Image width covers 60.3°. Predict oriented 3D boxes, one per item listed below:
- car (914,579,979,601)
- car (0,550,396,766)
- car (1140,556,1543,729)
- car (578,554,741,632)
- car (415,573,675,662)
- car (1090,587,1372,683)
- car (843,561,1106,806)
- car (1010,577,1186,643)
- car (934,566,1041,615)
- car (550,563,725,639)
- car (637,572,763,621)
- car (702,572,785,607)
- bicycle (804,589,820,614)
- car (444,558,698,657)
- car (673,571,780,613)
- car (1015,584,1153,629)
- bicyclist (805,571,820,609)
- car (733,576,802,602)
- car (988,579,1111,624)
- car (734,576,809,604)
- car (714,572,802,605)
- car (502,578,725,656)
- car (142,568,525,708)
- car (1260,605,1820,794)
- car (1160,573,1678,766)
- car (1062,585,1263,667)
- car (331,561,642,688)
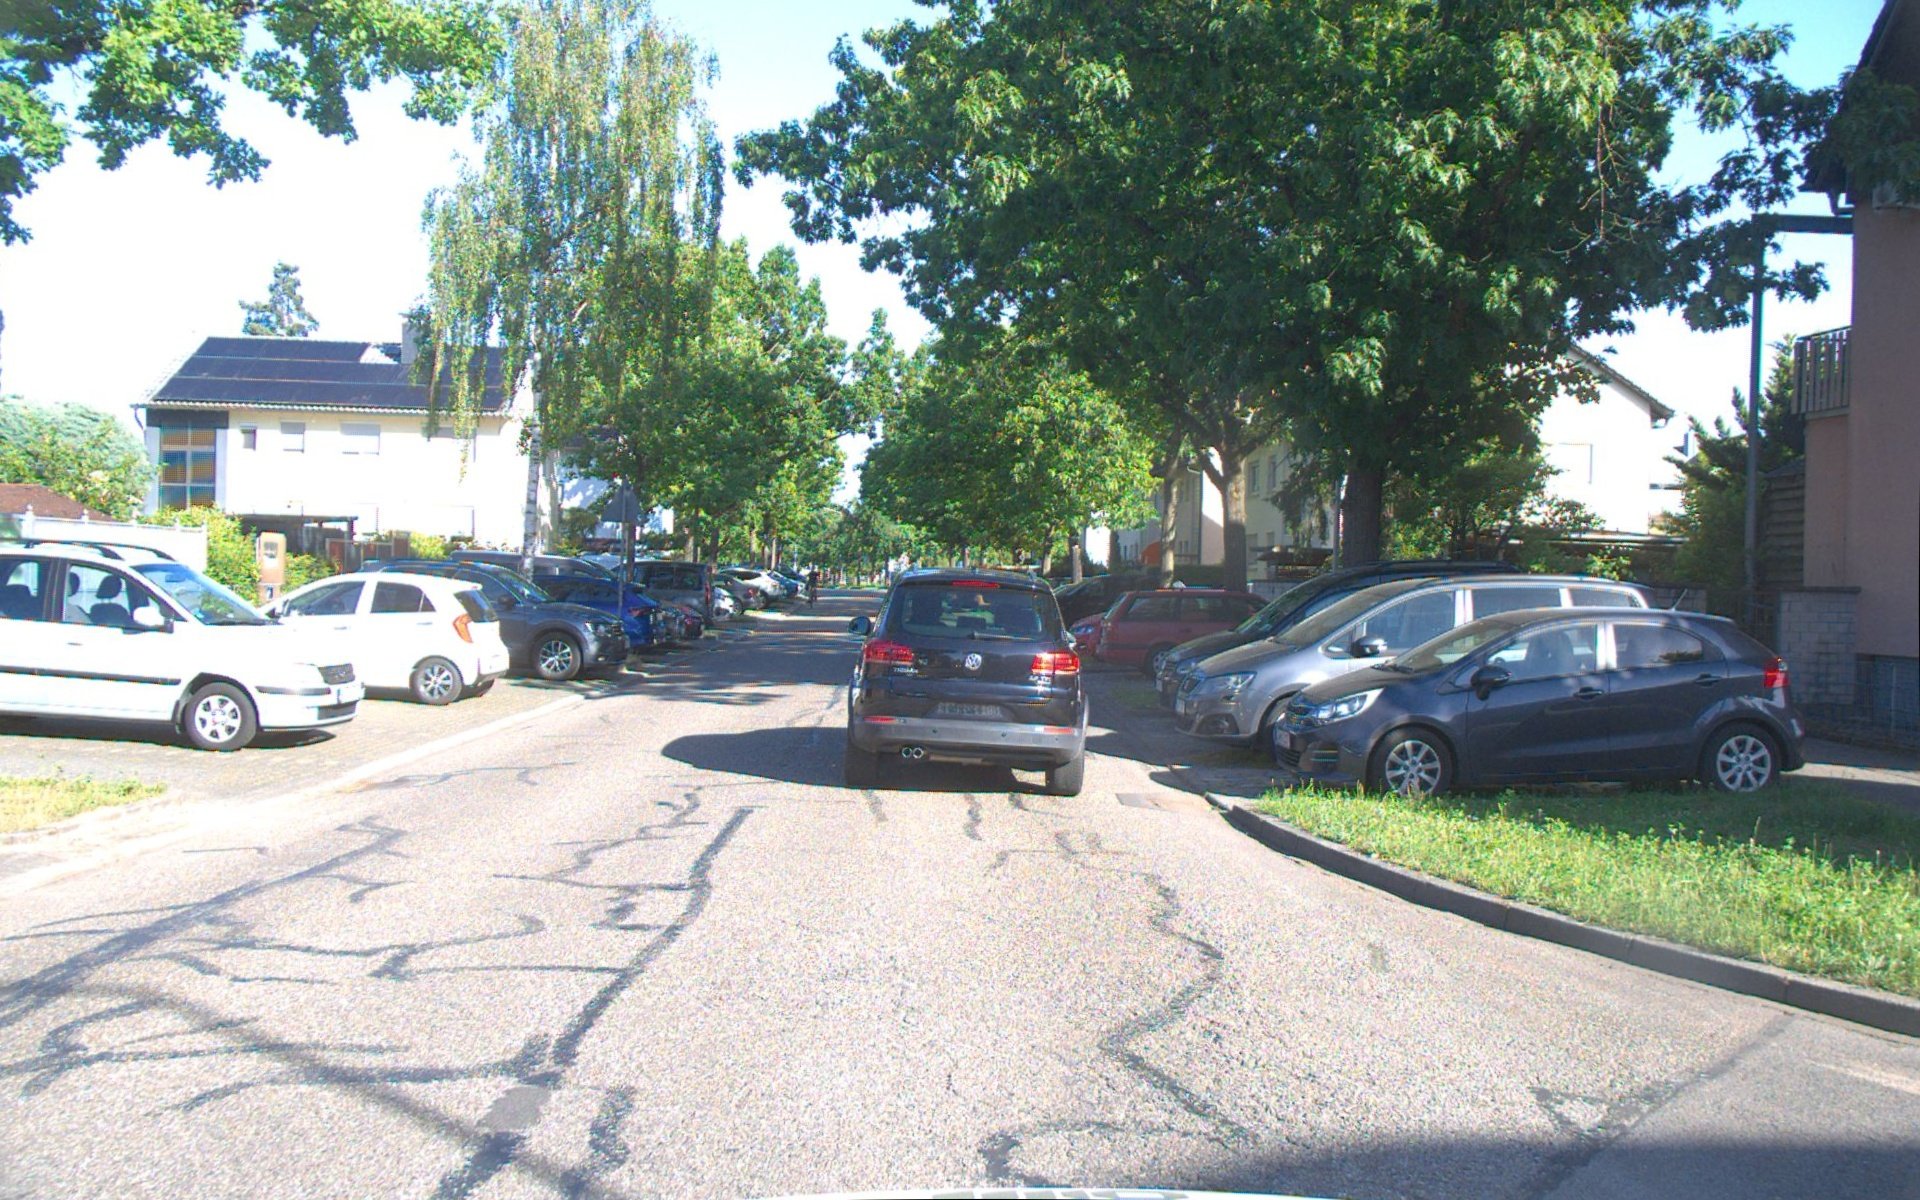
[{"bbox_3d":[-0.943,-0.693,113.438,4.261,1.386,1.872,1,0,-5],"label":"car"},{"bbox_3d":[-7.291,0.456,14.743,3.859,1.642,1.706,3,1,0],"label":"car"},{"bbox_3d":[4.272,0.464,18.898,4.129,1.813,1.788,1,0,-4],"label":"car"},{"bbox_3d":[-8.087,-0.184,44.862,4.154,1.978,1.998,1,0,-6],"label":"car"},{"bbox_3d":[-7.355,0.300,29.568,4.184,1.449,1.723,1,0,-1],"label":"car"},{"bbox_3d":[4.487,0.568,27.850,4.412,1.471,1.838,1,0,-2],"label":"car"},{"bbox_3d":[0.045,0.578,13.636,1.801,1.665,3.956,2,0,-2],"label":"car"},{"bbox_3d":[3.639,0.238,44.077,4.482,1.675,1.837,0,1,-3],"label":"car"},{"bbox_3d":[1.226,-0.452,75.543,4.723,2.119,2.085,1,0,-4],"label":"car"},{"bbox_3d":[-8.126,0.013,42.022,4.156,1.801,1.965,1,0,-6],"label":"car"},{"bbox_3d":[-8.942,-0.127,57.098,4.127,1.497,1.689,2,0,-4],"label":"car"},{"bbox_3d":[-10.715,-0.523,82.097,3.908,1.623,1.856,1,0,-4],"label":"car"},{"bbox_3d":[-6.650,0.050,74.462,0.584,1.077,1.985,-1,1,-2],"label":"bicycle"},{"bbox_3d":[-7.580,0.131,32.561,4.580,1.799,1.794,1,0,-4],"label":"car"},{"bbox_3d":[-9.508,-0.342,67.537,4.103,1.594,1.791,1,0,-2],"label":"car"},{"bbox_3d":[4.033,0.197,54.175,4.339,1.354,1.690,1,0,-3],"label":"car"},{"bbox_3d":[-6.659,-0.460,74.461,0.584,1.703,0.975,-1,0,-2],"label":"bicyclist"},{"bbox_3d":[-11.966,-0.701,103.016,4.192,1.504,1.767,1,0,-5],"label":"car"},{"bbox_3d":[3.189,0.040,59.578,4.252,1.587,1.866,0,1,-5],"label":"car"},{"bbox_3d":[-10.664,-0.580,93.625,4.100,1.518,1.646,1,0,-4],"label":"car"},{"bbox_3d":[-10.598,-0.618,87.119,4.434,1.659,1.936,1,0,-4],"label":"car"},{"bbox_3d":[-7.233,0.334,34.916,4.390,1.526,1.834,1,0,-6],"label":"car"},{"bbox_3d":[-7.480,0.434,20.032,3.920,1.541,1.795,1,0,-1],"label":"car"},{"bbox_3d":[4.487,0.739,13.167,3.865,1.385,1.683,0,0,-2],"label":"car"},{"bbox_3d":[4.261,0.610,15.781,4.414,1.709,1.877,0,0,-4],"label":"car"},{"bbox_3d":[3.942,0.493,32.615,3.701,1.510,1.755,1,0,-2],"label":"car"},{"bbox_3d":[-7.026,0.346,24.848,4.124,1.754,1.760,1,0,-1],"label":"car"}]
